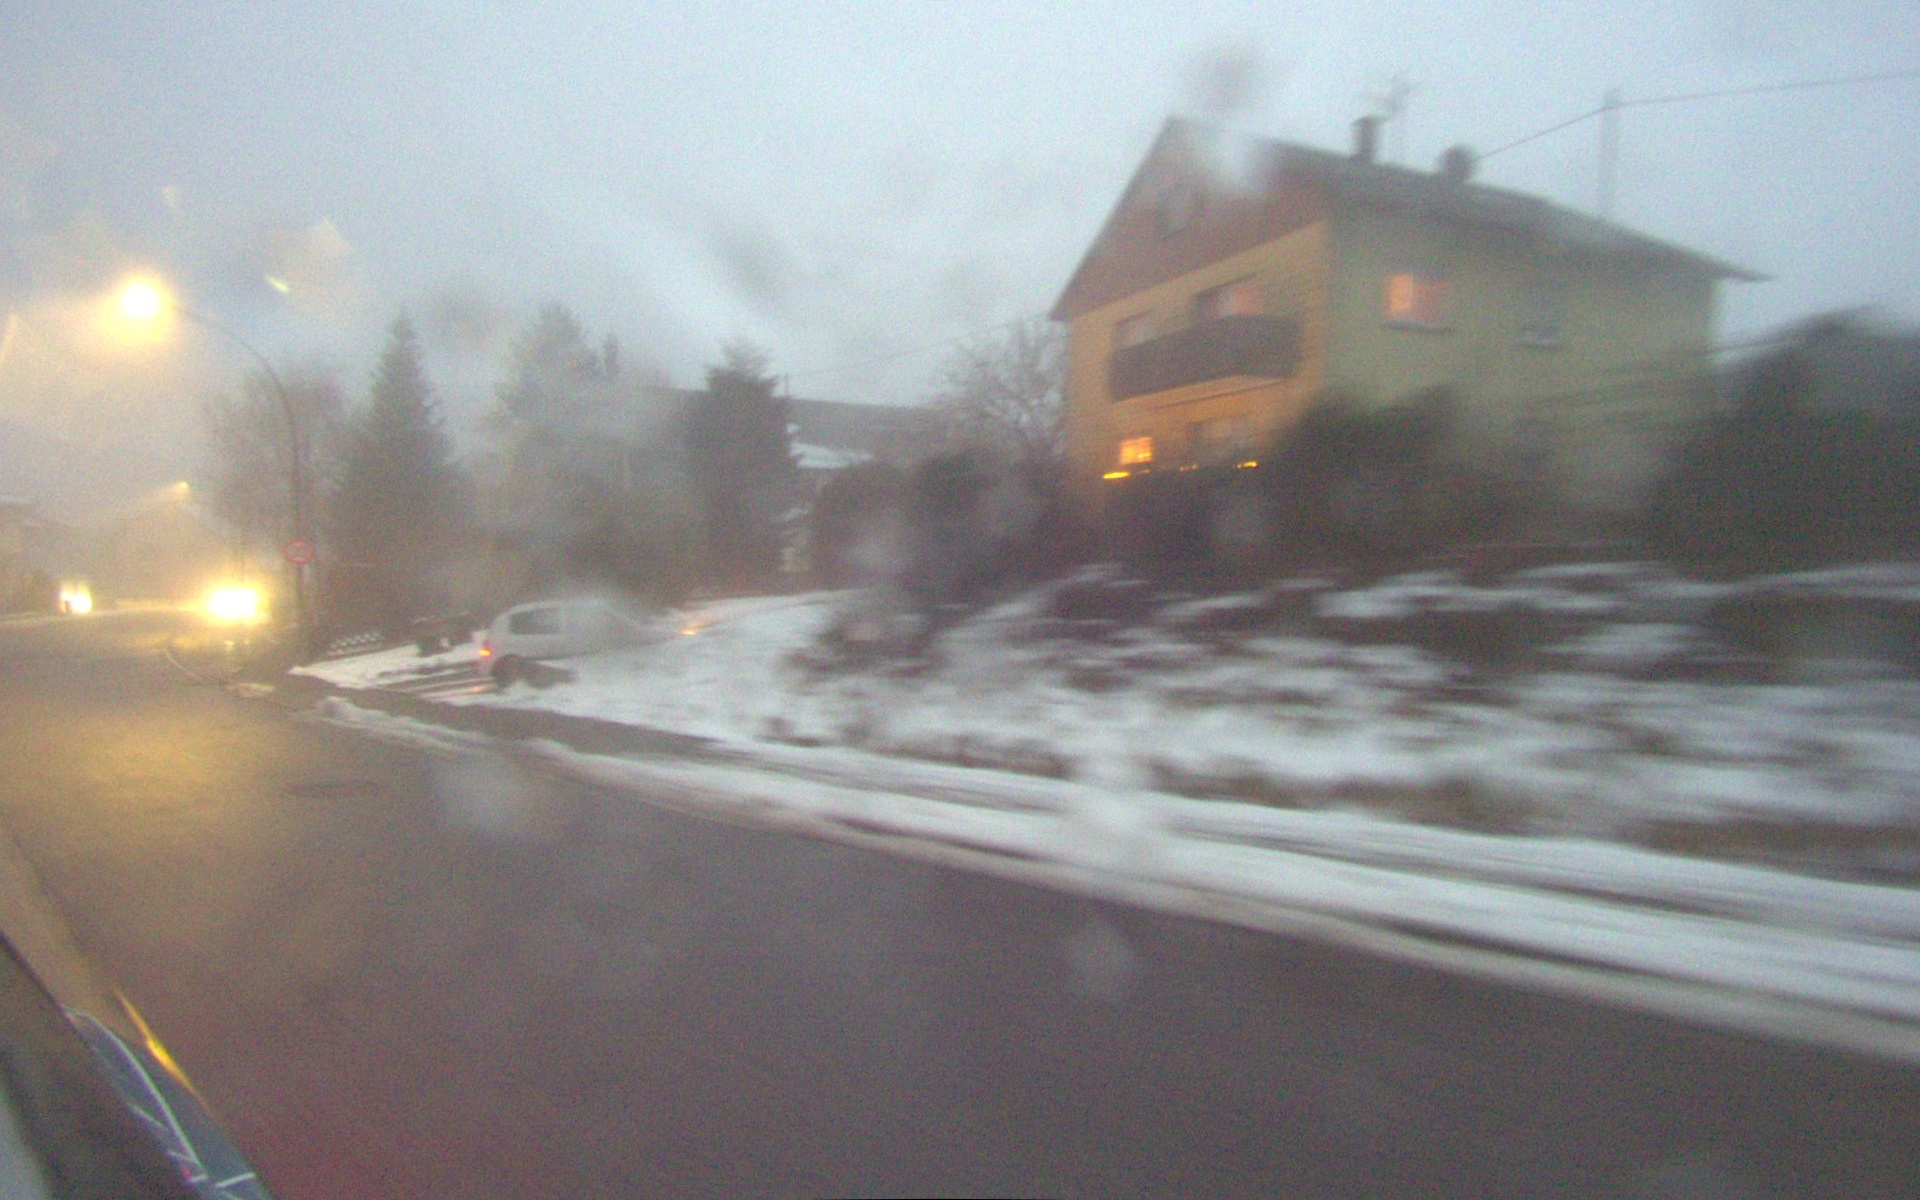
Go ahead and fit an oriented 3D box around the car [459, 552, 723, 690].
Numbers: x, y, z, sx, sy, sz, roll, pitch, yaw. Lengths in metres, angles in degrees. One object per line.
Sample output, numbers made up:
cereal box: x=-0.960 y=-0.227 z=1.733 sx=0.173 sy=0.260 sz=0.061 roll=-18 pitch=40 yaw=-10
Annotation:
car: x=-6.248 y=0.287 z=17.646 sx=3.937 sy=1.619 sz=1.909 roll=-9 pitch=7 yaw=-12
